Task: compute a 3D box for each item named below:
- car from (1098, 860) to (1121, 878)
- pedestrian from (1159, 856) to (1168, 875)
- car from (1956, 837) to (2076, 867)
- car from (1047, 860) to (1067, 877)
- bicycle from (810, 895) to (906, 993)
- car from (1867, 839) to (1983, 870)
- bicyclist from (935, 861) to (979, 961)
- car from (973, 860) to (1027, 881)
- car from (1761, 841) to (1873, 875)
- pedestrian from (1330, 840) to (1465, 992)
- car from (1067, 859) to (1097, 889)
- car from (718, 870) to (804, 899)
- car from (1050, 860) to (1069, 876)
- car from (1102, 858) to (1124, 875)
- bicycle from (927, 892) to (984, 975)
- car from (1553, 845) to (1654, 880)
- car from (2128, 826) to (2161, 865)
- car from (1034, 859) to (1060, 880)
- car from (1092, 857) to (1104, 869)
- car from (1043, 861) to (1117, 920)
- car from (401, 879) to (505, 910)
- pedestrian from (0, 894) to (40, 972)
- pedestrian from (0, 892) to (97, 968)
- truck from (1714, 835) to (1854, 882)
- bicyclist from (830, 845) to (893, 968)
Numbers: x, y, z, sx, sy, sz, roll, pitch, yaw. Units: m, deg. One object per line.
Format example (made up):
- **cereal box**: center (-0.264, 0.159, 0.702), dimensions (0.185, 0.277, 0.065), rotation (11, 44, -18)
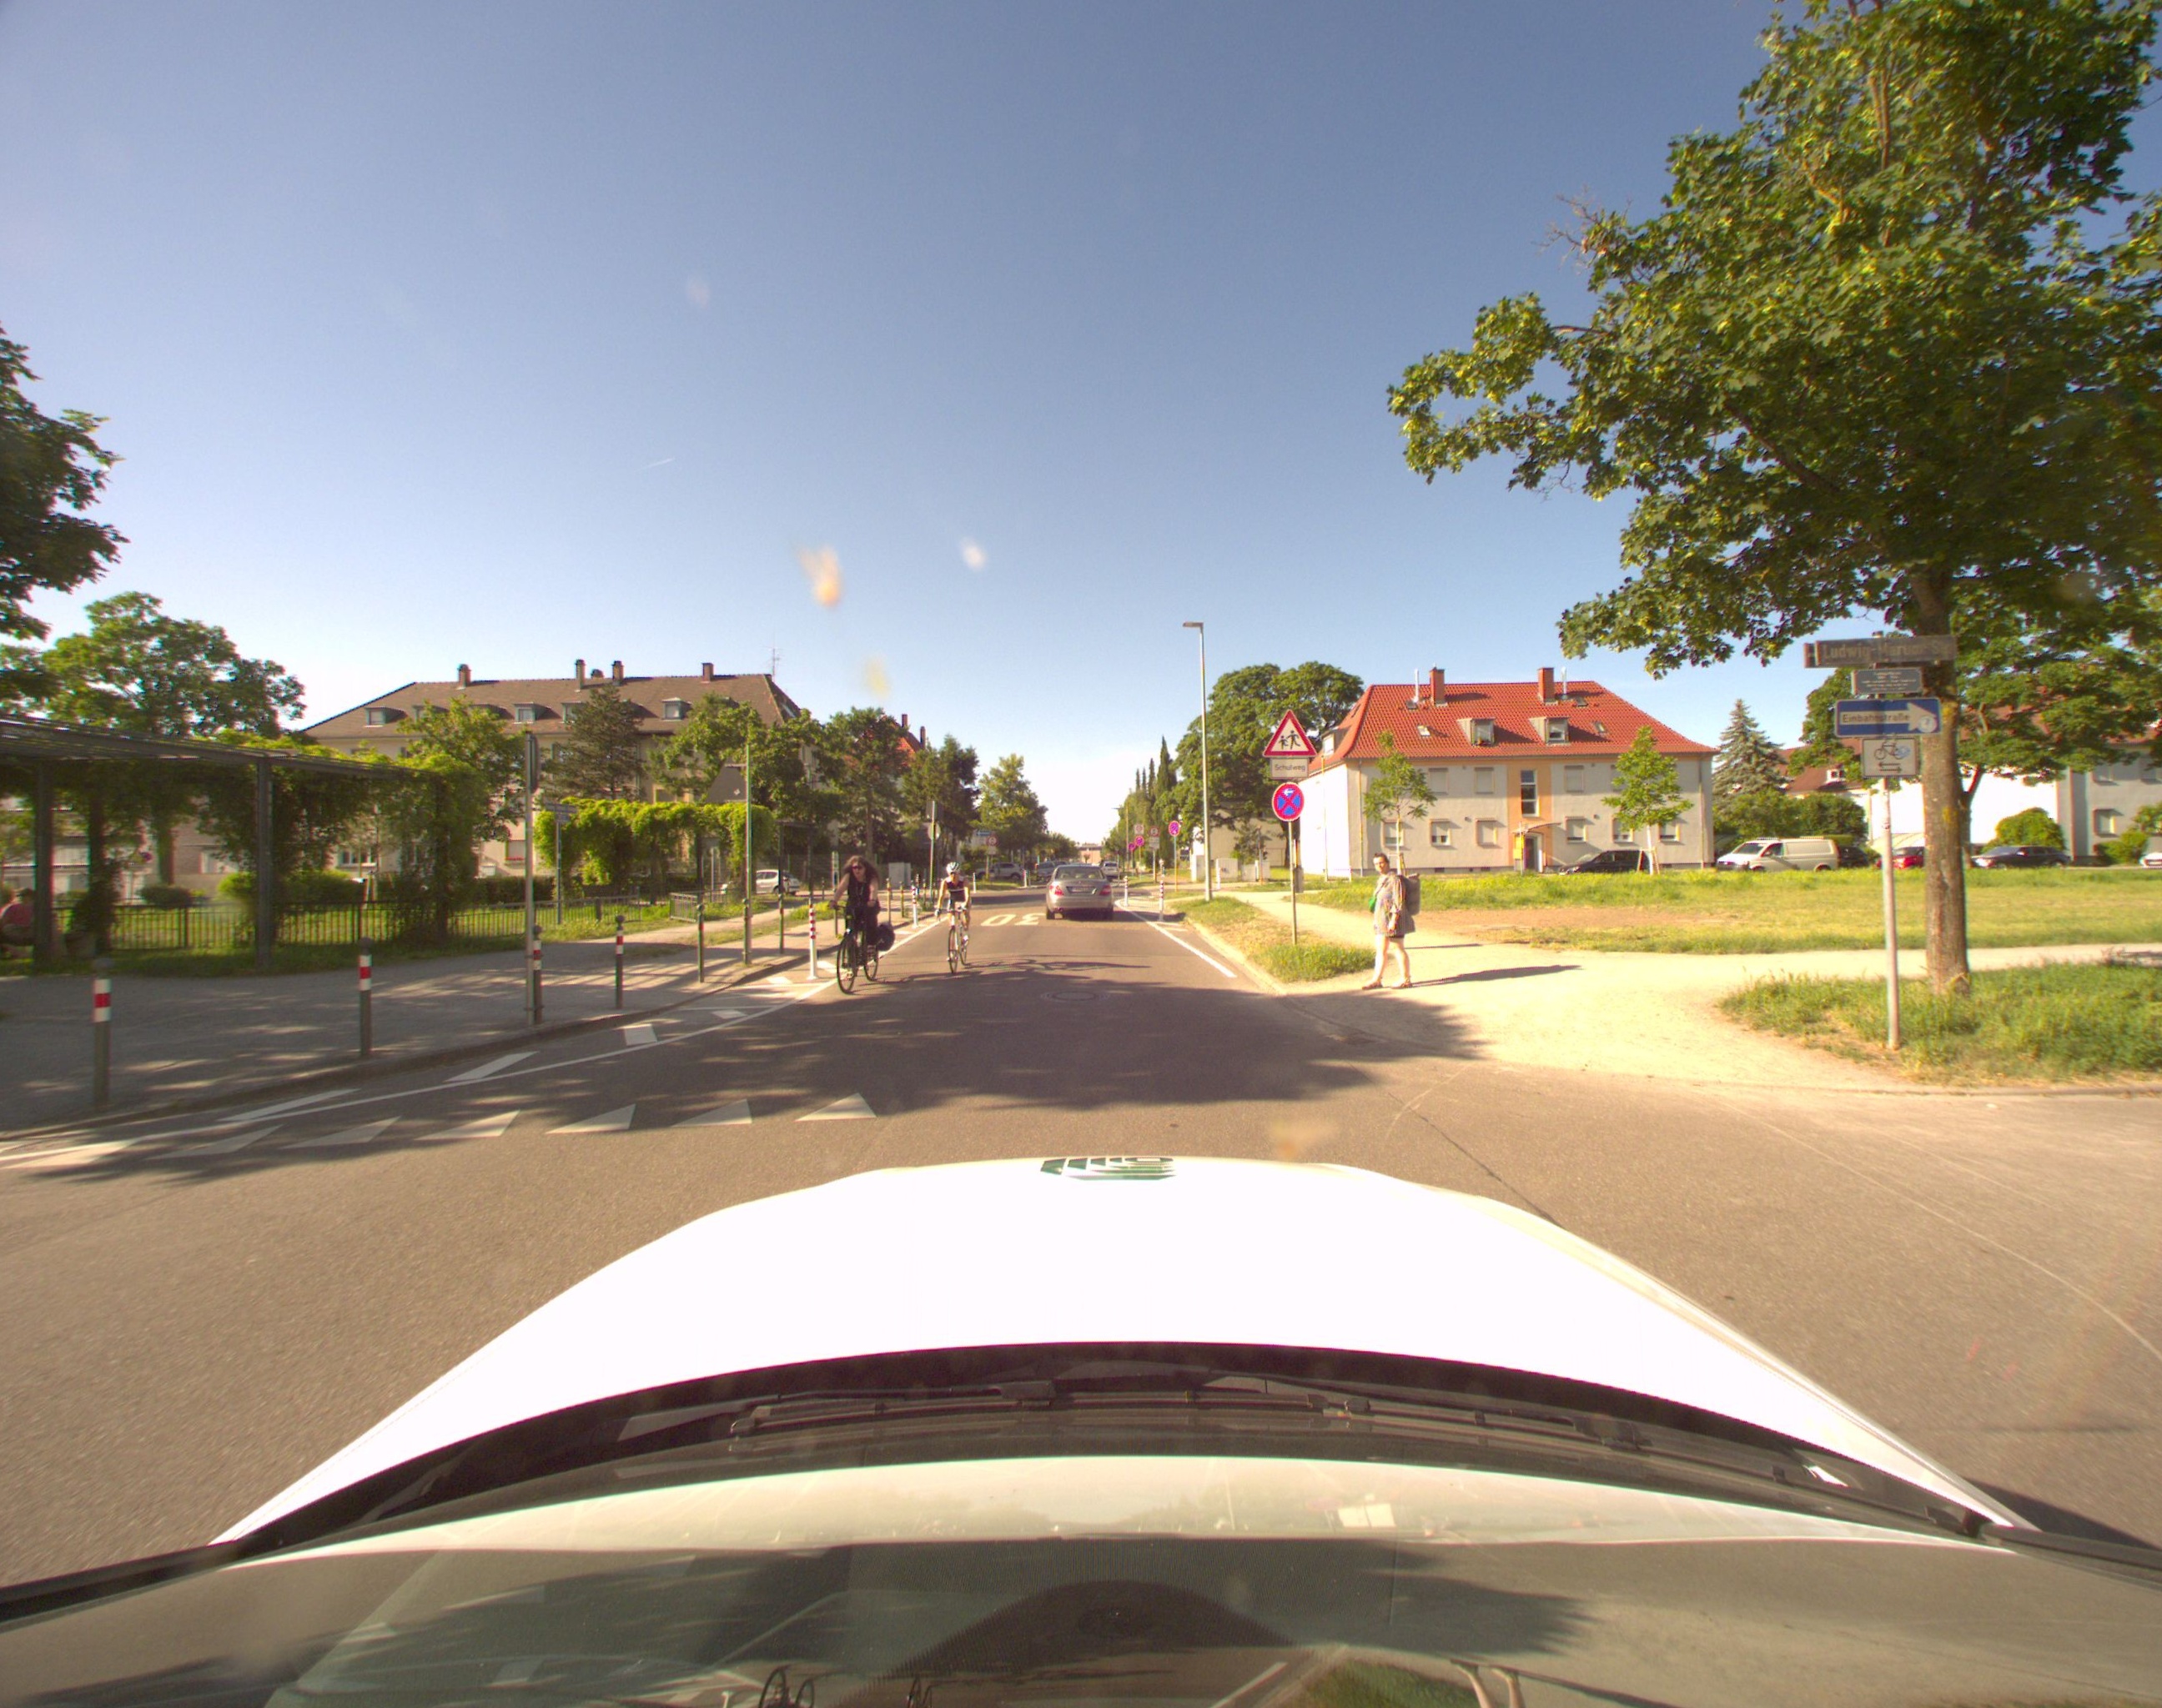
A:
- **car**: center (2.496, 1.275, 71.884), dimensions (1.728, 1.480, 3.723), rotation (-2, 0, -1)
- **pedestrian**: center (7.067, 1.001, 69.945), dimensions (0.762, 1.611, 0.835), rotation (-1, -1, 5)
- **car**: center (47.698, -0.095, 41.619), dimensions (4.112, 1.442, 1.722), rotation (-1, 0, 1)
- **car**: center (-2.599, 1.505, 87.428), dimensions (1.988, 1.609, 3.998), rotation (-5, 0, -1)
- **bicycle**: center (-2.970, 1.166, 11.078), dimensions (0.640, 1.108, 2.066), rotation (-1, -1, 2)
- **car**: center (43.056, 0.045, 41.605), dimensions (4.112, 1.442, 1.722), rotation (-1, 0, 1)
- **bicyclist**: center (-1.867, 0.840, 12.315), dimensions (0.494, 1.464, 0.688), rotation (-1, -1, 2)
- **car**: center (-6.386, 1.313, 64.480), dimensions (4.182, 1.564, 1.840), rotation (-1, -1, -3)
- **car**: center (37.387, 0.185, 41.443), dimensions (4.112, 1.583, 1.722), rotation (-1, 0, 1)
- **pedestrian**: center (3.891, 0.724, 10.062), dimensions (1.089, 1.674, 0.908), rotation (-6, 1, -16)
- **car**: center (0.005, 1.102, 46.236), dimensions (1.592, 1.610, 3.642), rotation (-1, 0, -1)
- **car**: center (-16.522, 1.576, 42.136), dimensions (3.751, 1.398, 1.706), rotation (-2, -2, 0)
- **car**: center (-2.473, 1.568, 93.140), dimensions (1.988, 1.609, 3.998), rotation (-5, 0, -1)
- **car**: center (3.194, 1.265, 82.733), dimensions (1.988, 1.610, 3.998), rotation (-2, 0, -1)
- **bicycle**: center (-1.861, 1.152, 12.280), dimensions (0.503, 1.089, 1.710), rotation (-1, 0, 2)
- **car**: center (26.620, 0.424, 41.556), dimensions (4.036, 1.664, 1.722), rotation (-1, 0, 1)
- **car**: center (56.866, -0.476, 41.630), dimensions (4.227, 2.014, 1.872), rotation (-1, -1, 1)
- **car**: center (-2.861, 1.306, 69.619), dimensions (1.988, 1.609, 3.998), rotation (-5, 0, -1)
- **car**: center (2.661, 1.368, 127.819), dimensions (1.849, 1.841, 3.999), rotation (-2, 0, 0)
- **car**: center (0.039, 0.930, 22.195), dimensions (1.829, 1.441, 4.002), rotation (-1, -1, 2)
- **car**: center (-32.468, 2.076, 42.171), dimensions (3.973, 1.495, 1.801), rotation (-2, -2, 1)
- **pedestrian**: center (-16.597, 1.204, 12.357), dimensions (0.840, 1.149, 0.599), rotation (-2, -1, 2)
- **pedestrian**: center (-16.559, 1.207, 13.037), dimensions (0.869, 1.139, 0.599), rotation (-2, -1, 2)
- **truck**: center (33.160, 0.231, 38.515), dimensions (4.842, 2.036, 2.000), rotation (-2, 0, 0)
- **bicyclist**: center (-2.979, 0.698, 11.113), dimensions (0.640, 1.620, 0.637), rotation (-1, -1, 2)
